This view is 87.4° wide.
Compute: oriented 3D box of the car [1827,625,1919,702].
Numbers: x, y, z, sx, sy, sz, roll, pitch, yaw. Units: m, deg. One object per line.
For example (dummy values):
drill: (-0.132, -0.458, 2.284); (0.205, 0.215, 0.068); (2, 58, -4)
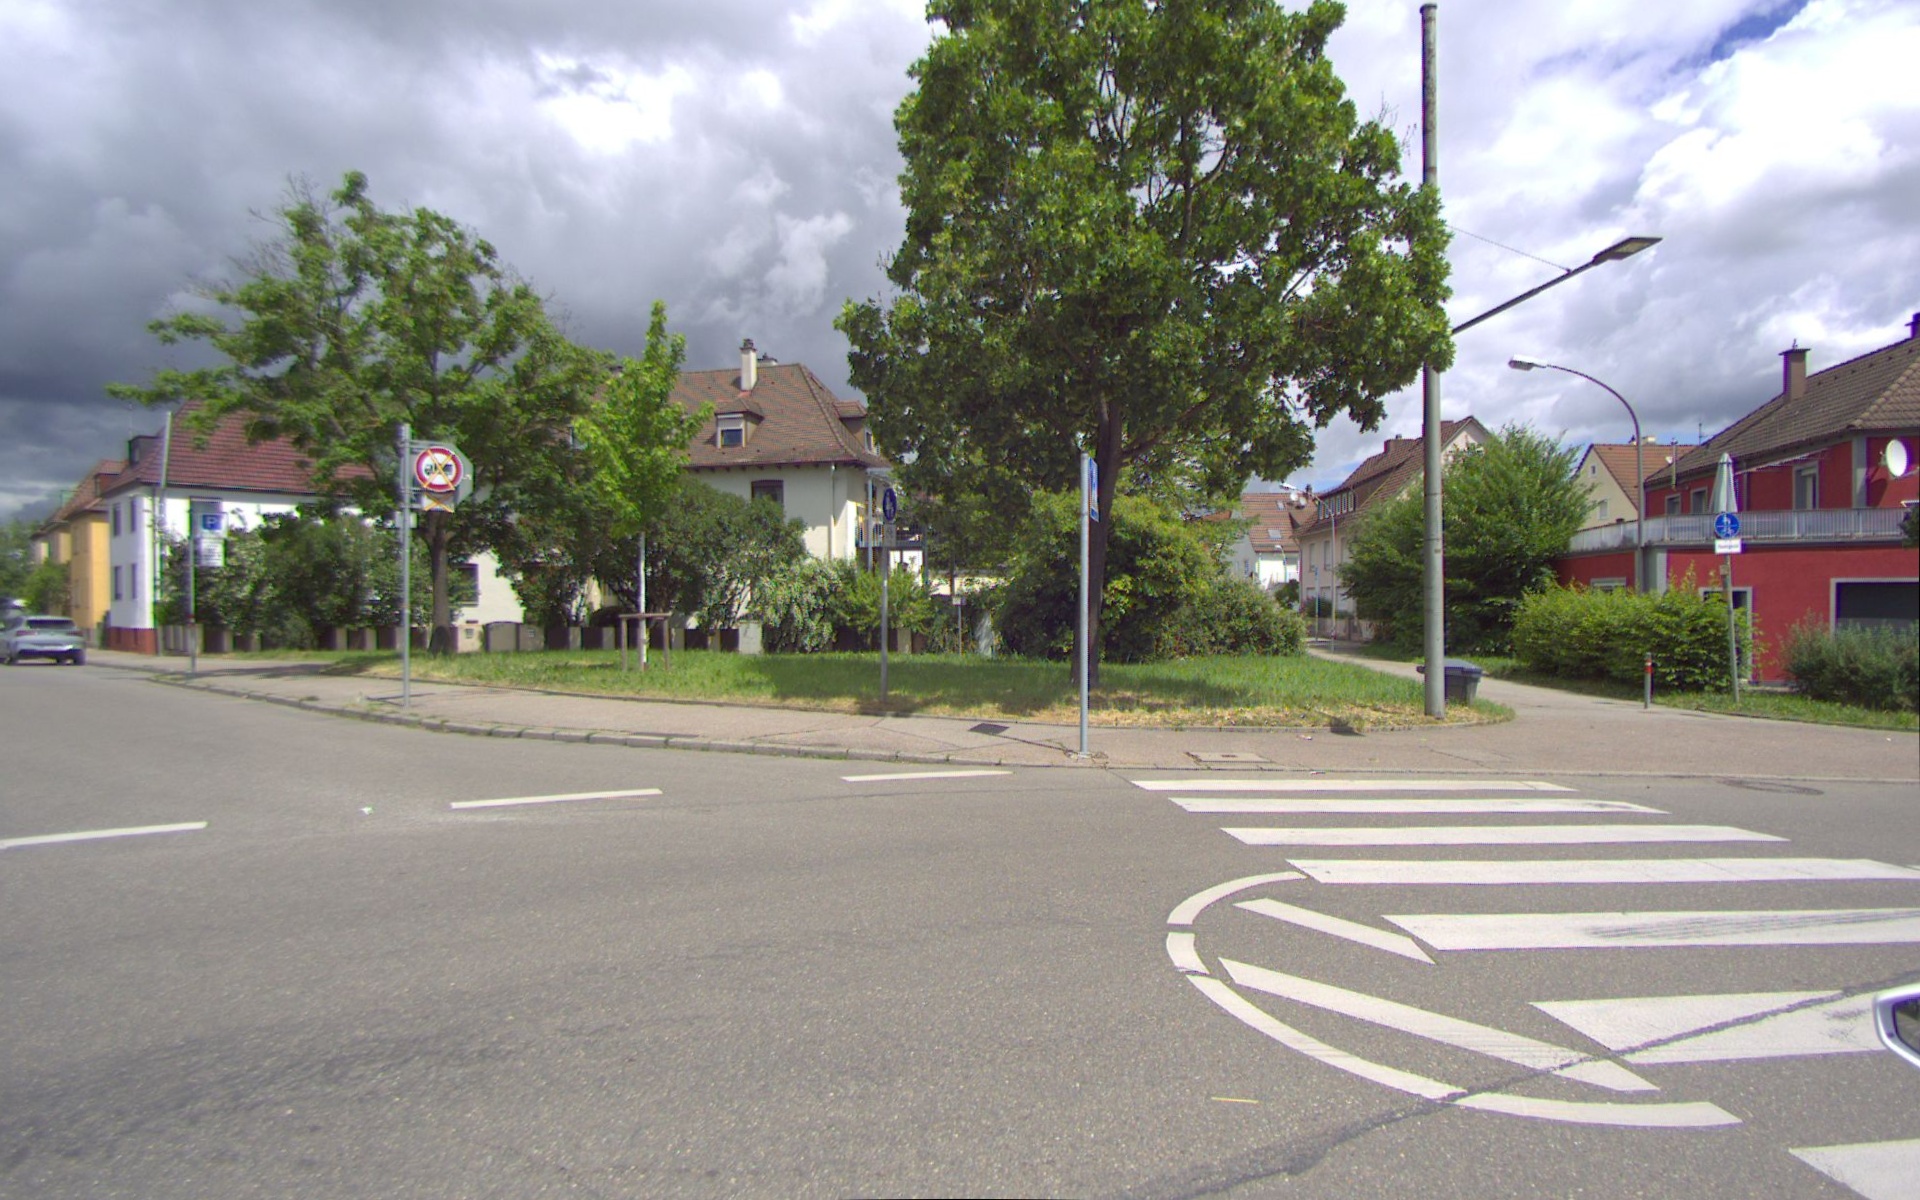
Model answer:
car: (20.493, 1.341, 20.413); (3.995, 1.445, 1.646); (2, 1, 14)

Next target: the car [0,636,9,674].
car: (-45.328, 2.525, 46.286); (4.340, 1.609, 1.988); (0, 0, 44)

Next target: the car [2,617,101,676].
car: (-31.081, 1.522, 34.336); (4.340, 1.832, 2.219); (0, 0, 44)

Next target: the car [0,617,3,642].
car: (-65.256, 1.976, 66.950); (4.340, 1.609, 1.988); (0, 0, 44)
